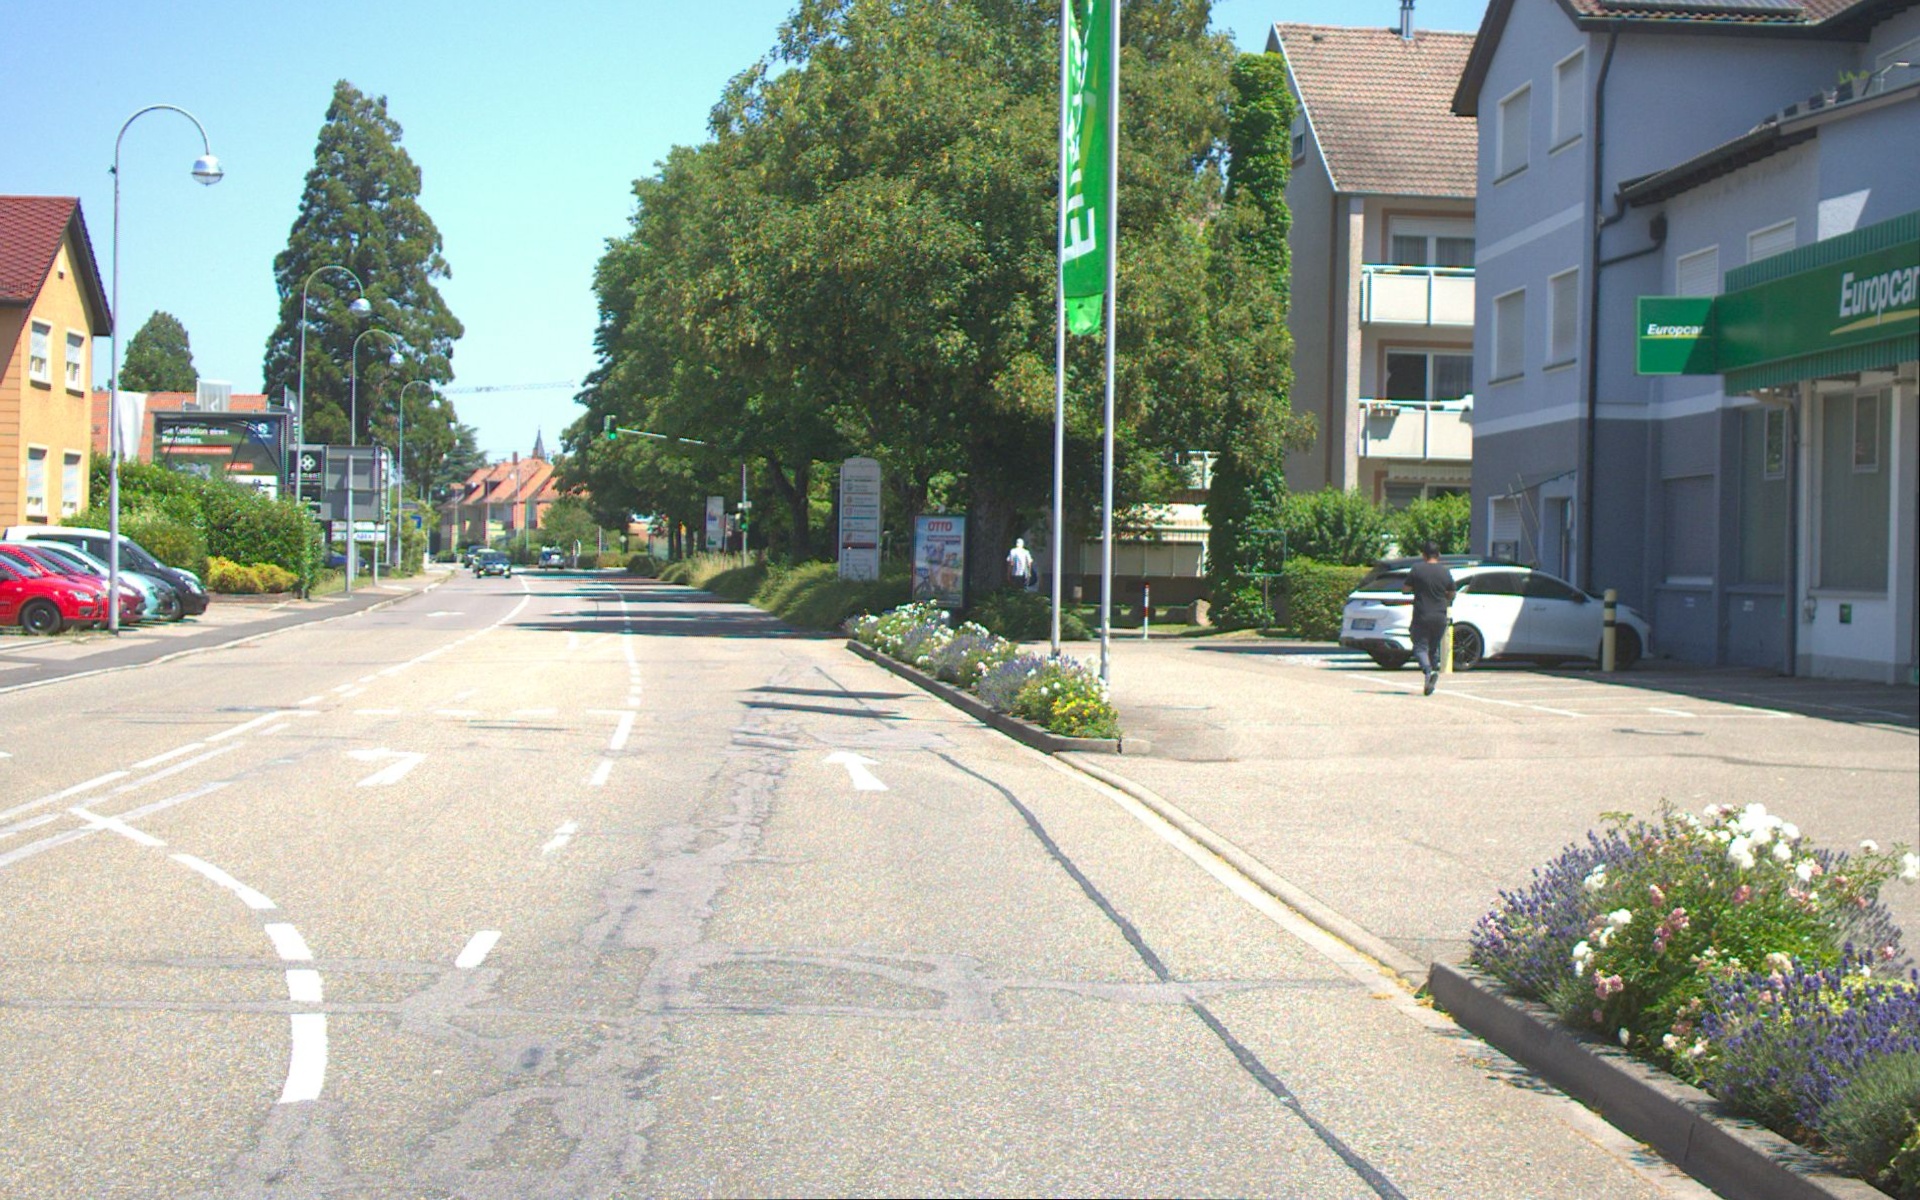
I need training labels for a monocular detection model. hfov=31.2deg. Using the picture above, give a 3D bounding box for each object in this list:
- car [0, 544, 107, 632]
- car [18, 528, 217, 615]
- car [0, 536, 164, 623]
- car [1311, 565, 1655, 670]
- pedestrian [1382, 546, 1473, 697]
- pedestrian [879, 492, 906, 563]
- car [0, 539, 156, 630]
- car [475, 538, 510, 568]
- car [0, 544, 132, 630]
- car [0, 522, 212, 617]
[{"bbox_3d":[-16.447,-0.220,57.236,4.125,1.439,1.827,1,1,-6],"label":"car"},{"bbox_3d":[-16.810,-0.570,68.754,3.663,1.667,1.923,1,1,-7],"label":"car"},{"bbox_3d":[-16.878,-0.401,64.384,3.663,1.575,1.923,1,1,-7],"label":"car"},{"bbox_3d":[7.186,0.232,47.180,4.343,1.366,1.956,0,1,-28],"label":"car"},{"bbox_3d":[5.184,0.229,38.165,0.840,1.635,1.010,1,0,-1],"label":"pedestrian"},{"bbox_3d":[-1.842,-1.966,93.486,0.703,1.908,0.660,0,1,-2],"label":"pedestrian"},{"bbox_3d":[-16.530,-0.299,62.219,3.663,1.599,1.882,1,1,-7],"label":"car"},{"bbox_3d":[-24.858,-2.520,182.800,1.709,1.490,4.279,1,2,-6],"label":"car"},{"bbox_3d":[-16.397,-0.243,59.810,3.663,1.452,1.893,1,1,-7],"label":"car"},{"bbox_3d":[-17.550,-0.625,70.826,4.092,1.891,2.001,1,1,-10],"label":"car"}]
